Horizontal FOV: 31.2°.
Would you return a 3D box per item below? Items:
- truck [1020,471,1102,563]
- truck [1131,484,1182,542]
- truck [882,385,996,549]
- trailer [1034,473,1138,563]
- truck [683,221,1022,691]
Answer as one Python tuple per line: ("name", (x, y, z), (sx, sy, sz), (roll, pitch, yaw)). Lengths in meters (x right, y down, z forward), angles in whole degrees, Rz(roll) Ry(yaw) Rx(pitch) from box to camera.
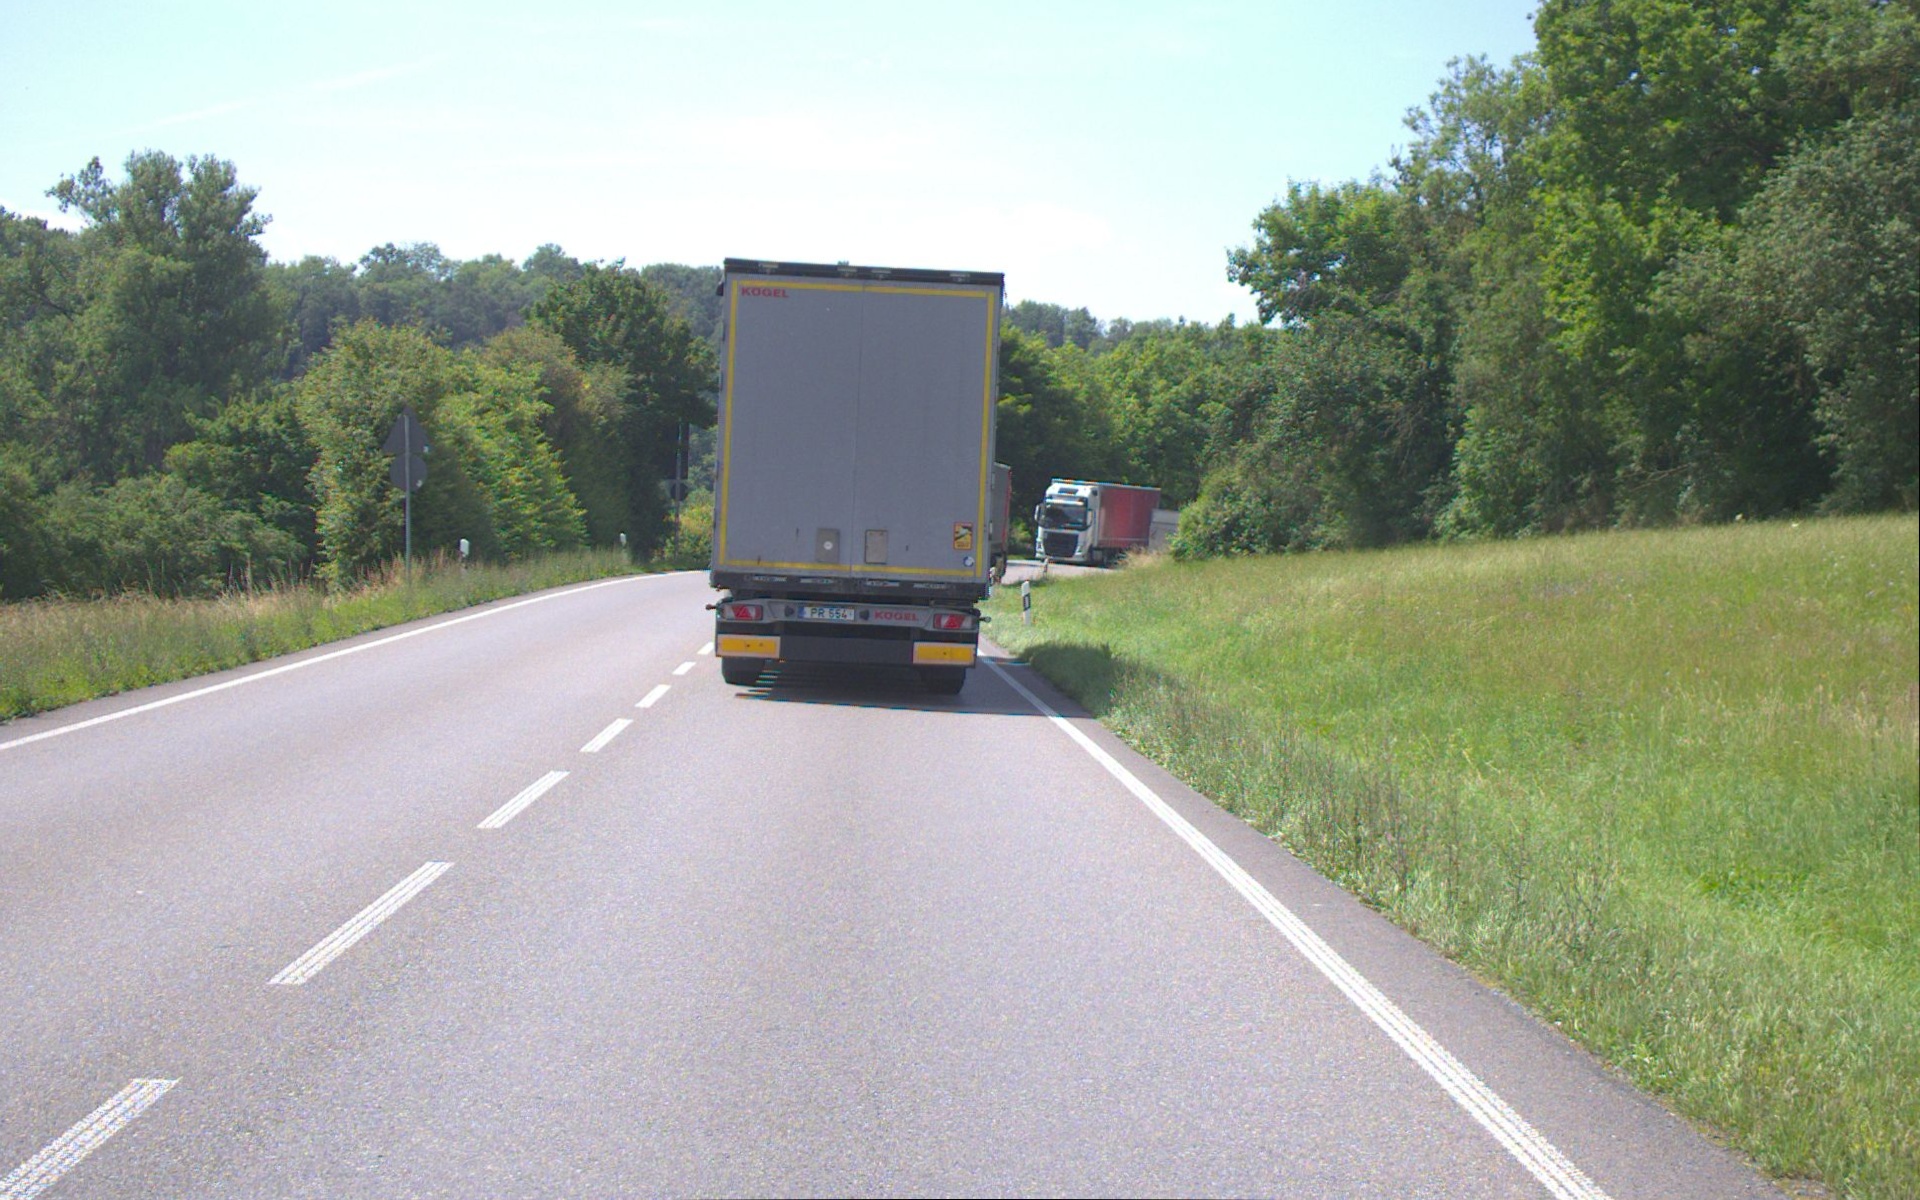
("truck", (4.861, -3.983, 164.907), (2.561, 4.100, 5.797), (6, 3, 12))
("truck", (9.877, -4.360, 172.448), (2.355, 2.816, 5.058), (-2, 1, 5))
("truck", (-0.575, -4.367, 111.483), (3.105, 4.689, 16.591), (4, 3, 0))
("trailer", (6.424, -4.174, 172.523), (2.570, 4.093, 13.656), (6, 3, 11))
("truck", (-1.245, -1.442, 38.560), (2.801, 4.054, 15.327), (4, 1, -2))
